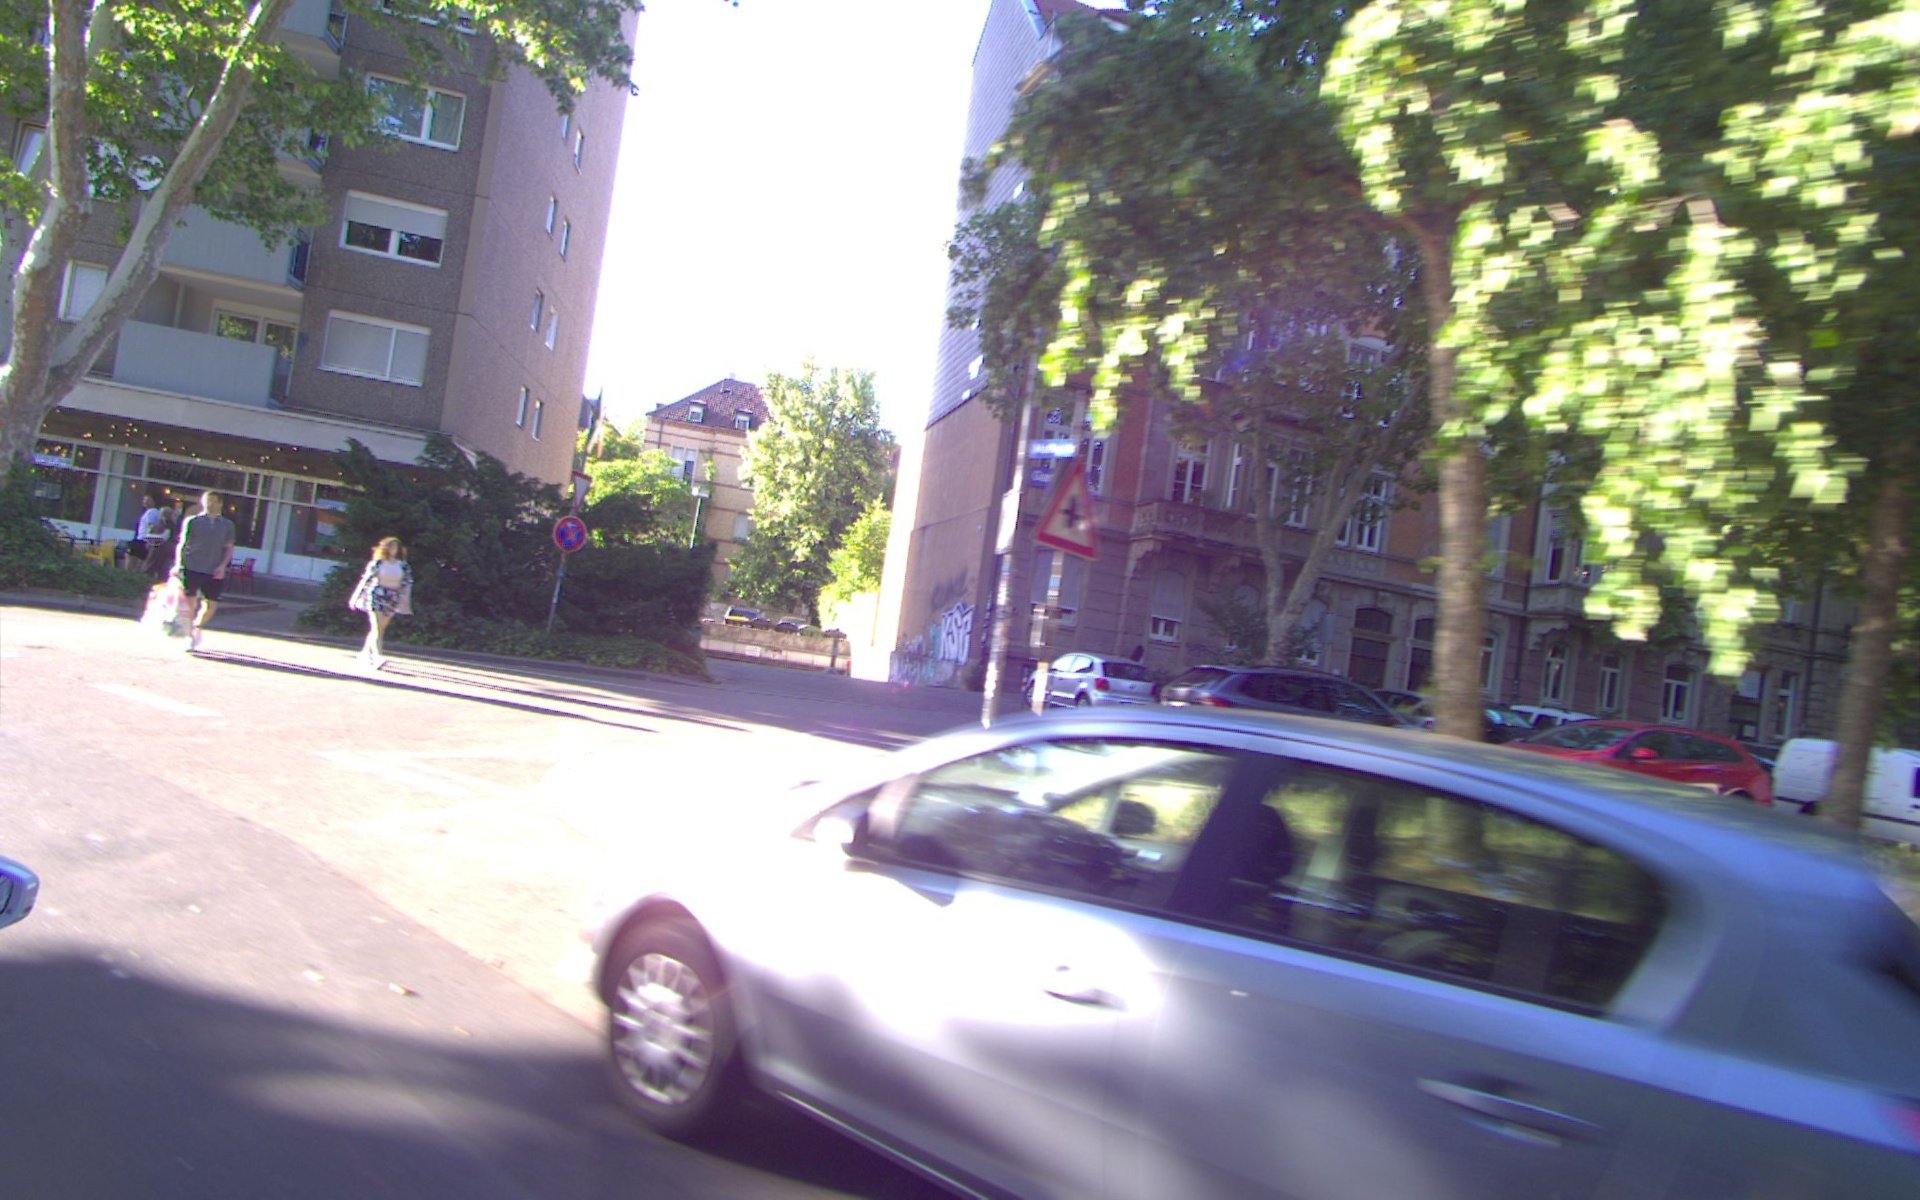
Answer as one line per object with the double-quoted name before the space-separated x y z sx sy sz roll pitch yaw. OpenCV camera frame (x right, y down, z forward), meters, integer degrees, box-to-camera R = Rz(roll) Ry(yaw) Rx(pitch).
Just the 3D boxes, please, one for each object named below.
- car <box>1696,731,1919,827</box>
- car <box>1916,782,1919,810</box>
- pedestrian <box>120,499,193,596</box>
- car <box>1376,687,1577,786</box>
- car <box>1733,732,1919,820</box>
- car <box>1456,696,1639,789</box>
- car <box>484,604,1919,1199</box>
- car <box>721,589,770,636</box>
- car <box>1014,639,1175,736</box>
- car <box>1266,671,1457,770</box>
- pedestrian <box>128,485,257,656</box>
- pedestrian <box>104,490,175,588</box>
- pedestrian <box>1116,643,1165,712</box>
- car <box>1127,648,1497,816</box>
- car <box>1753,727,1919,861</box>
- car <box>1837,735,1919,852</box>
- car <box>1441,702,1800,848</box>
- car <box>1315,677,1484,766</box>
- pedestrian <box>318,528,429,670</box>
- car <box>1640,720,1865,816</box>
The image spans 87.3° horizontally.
"car" 23.594 4.934 28.183 1.711 1.651 4.462 8 0 -21
"car" 33.276 6.256 31.389 1.712 1.786 4.568 9 0 -21
"pedestrian" -15.349 -0.988 19.238 0.633 1.712 0.686 8 -1 -7
"car" 13.152 3.430 25.961 1.712 1.650 4.462 9 -1 -21
"car" 26.111 5.216 29.995 1.712 1.650 4.462 9 -1 -21
"car" 15.768 3.773 27.334 1.705 1.650 4.478 9 -1 -8
"car" 0.576 1.046 2.892 3.811 1.461 1.685 7 -5 35
"car" -11.080 0.614 51.727 1.970 2.037 3.988 8 -2 -16
"car" 2.873 1.870 22.420 1.712 1.490 3.980 9 -1 -21
"car" 9.223 2.741 23.405 1.885 1.636 3.758 8 -2 -23
"pedestrian" -8.717 -0.326 11.439 0.705 1.802 0.812 7 -1 36
"pedestrian" -16.080 -1.178 19.730 0.625 1.794 0.686 8 -1 -7
"pedestrian" 4.647 1.987 25.930 0.707 1.626 0.810 8 -1 -24
"car" 4.551 1.710 13.179 4.209 1.567 1.741 8 -5 -13
"car" 14.218 2.901 14.338 1.707 1.724 4.399 9 -6 -13
"car" 16.604 3.227 15.496 1.758 1.794 4.399 9 -6 -13
"car" 9.577 2.524 14.629 4.576 1.465 1.740 8 -3 -16
"car" 10.875 2.982 25.167 1.629 1.614 3.631 8 -2 -21
"pedestrian" -7.320 -0.002 12.565 0.705 1.626 0.812 7 -1 36
"car" 21.616 4.541 27.693 1.712 1.650 4.462 9 -1 -21
